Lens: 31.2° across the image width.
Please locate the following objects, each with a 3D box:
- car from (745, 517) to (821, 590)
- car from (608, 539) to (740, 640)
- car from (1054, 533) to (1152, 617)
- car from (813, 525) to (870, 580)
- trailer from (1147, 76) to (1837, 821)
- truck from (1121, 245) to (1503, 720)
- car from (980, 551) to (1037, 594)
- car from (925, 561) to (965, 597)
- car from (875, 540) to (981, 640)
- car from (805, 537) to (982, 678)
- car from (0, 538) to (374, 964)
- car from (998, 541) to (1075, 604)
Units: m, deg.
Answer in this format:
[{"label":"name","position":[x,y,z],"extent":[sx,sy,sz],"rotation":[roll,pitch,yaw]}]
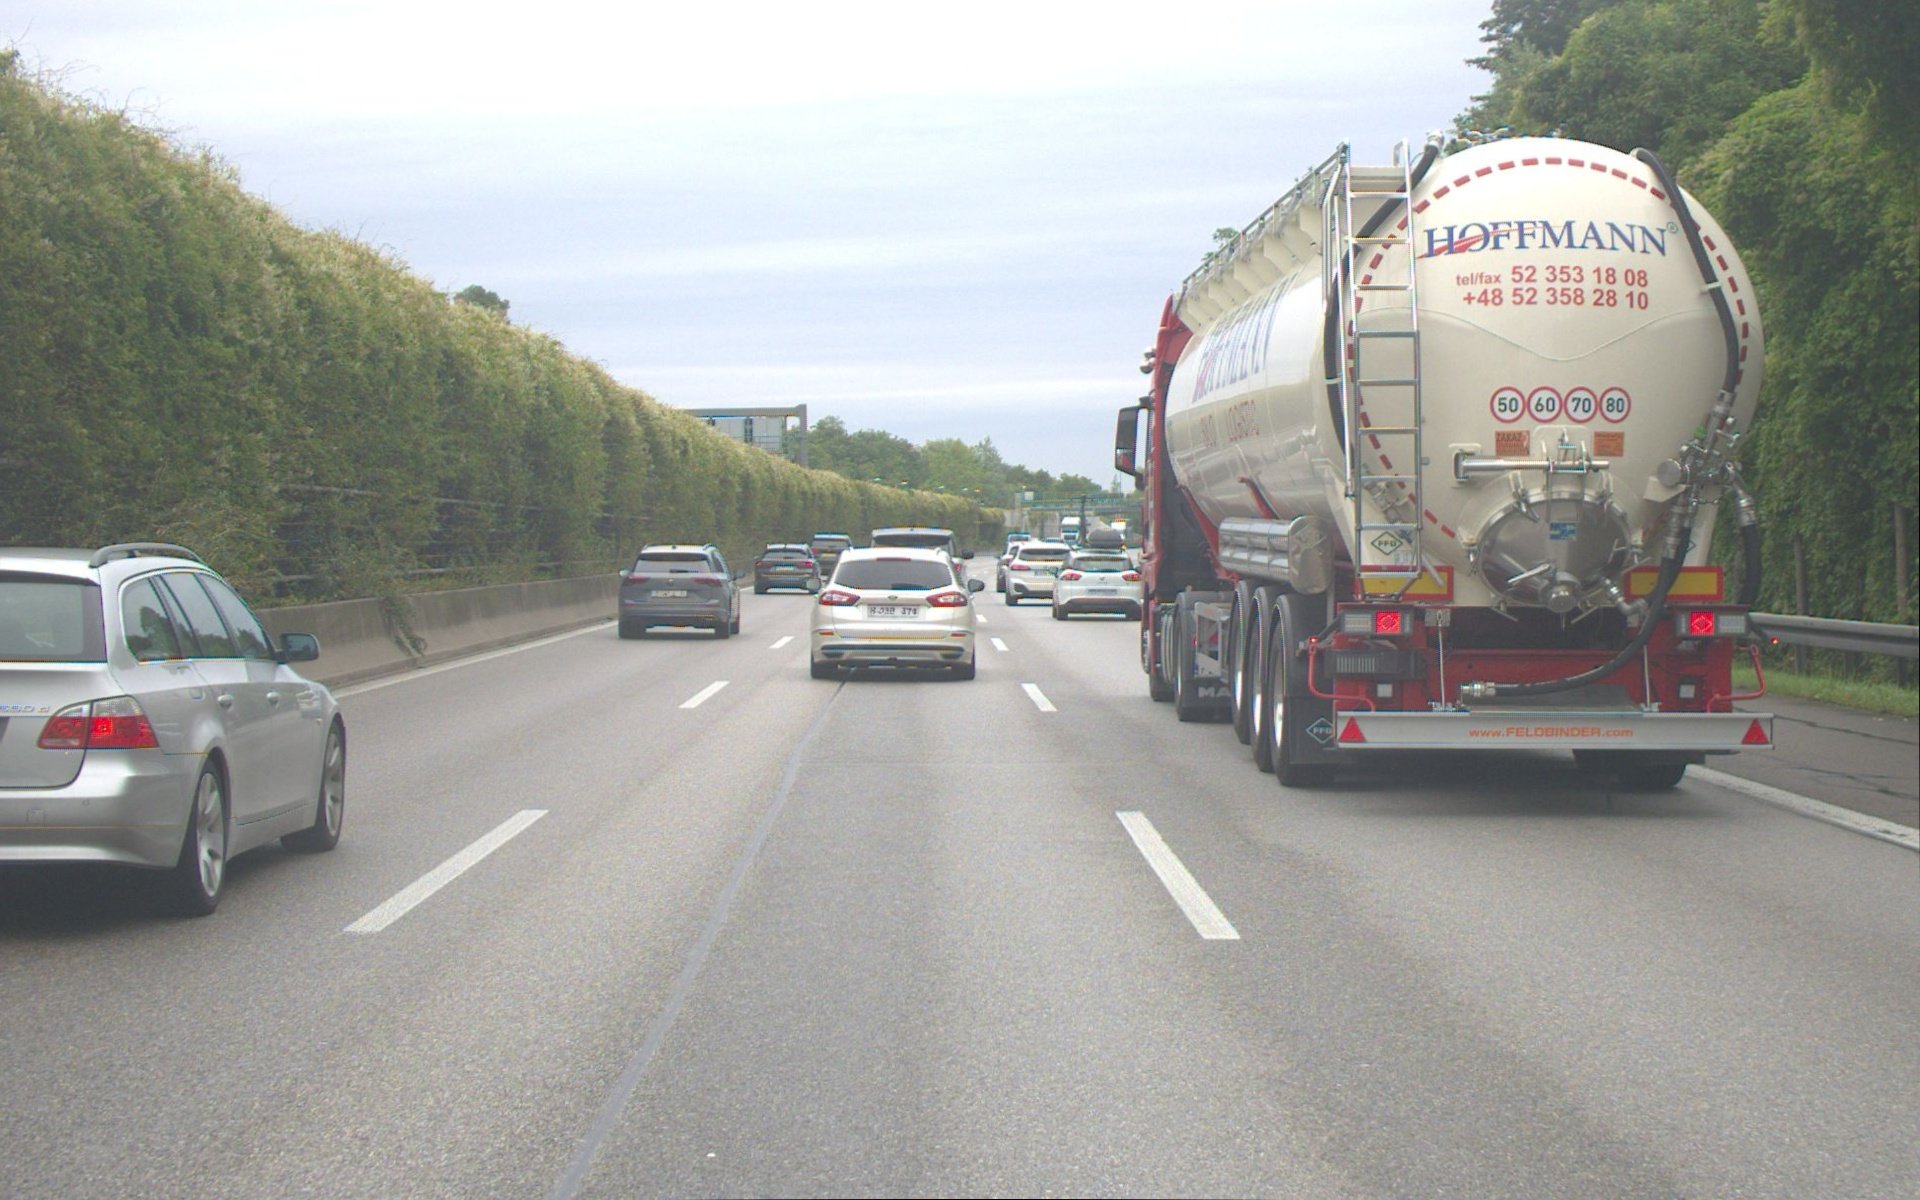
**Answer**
[{"label":"car","position":[-5.048,-1.338,98.357],"extent":[1.993,2.007,3.841],"rotation":[1,1,0]},{"label":"car","position":[-4.522,-0.201,54.970],"extent":[1.720,1.507,5.030],"rotation":[1,1,-1]},{"label":"car","position":[2.866,-0.522,69.832],"extent":[1.816,1.620,5.030],"rotation":[1,1,1]},{"label":"car","position":[-4.402,-1.787,128.262],"extent":[1.993,2.007,4.000],"rotation":[1,1,0]},{"label":"trailer","position":[3.197,-0.872,24.915],"extent":[2.668,3.925,13.131],"rotation":[1,1,-1]},{"label":"truck","position":[3.080,-1.009,31.860],"extent":[2.695,3.899,6.557],"rotation":[1,1,-1]},{"label":"car","position":[1.516,-0.882,109.345],"extent":[1.689,1.326,3.871],"rotation":[1,1,-1]},{"label":"car","position":[-0.688,-0.947,152.949],"extent":[1.689,1.534,3.872],"rotation":[1,1,-1]},{"label":"car","position":[-0.541,-0.205,60.928],"extent":[1.689,1.501,3.872],"rotation":[5,2,0]},{"label":"car","position":[-0.771,0.041,39.589],"extent":[1.891,1.499,5.030],"rotation":[1,1,-1]},{"label":"car","position":[-3.817,0.499,14.891],"extent":[1.720,1.464,5.030],"rotation":[1,1,-1]},{"label":"car","position":[1.877,-0.684,85.172],"extent":[1.689,1.501,3.871],"rotation":[1,1,-1]}]
